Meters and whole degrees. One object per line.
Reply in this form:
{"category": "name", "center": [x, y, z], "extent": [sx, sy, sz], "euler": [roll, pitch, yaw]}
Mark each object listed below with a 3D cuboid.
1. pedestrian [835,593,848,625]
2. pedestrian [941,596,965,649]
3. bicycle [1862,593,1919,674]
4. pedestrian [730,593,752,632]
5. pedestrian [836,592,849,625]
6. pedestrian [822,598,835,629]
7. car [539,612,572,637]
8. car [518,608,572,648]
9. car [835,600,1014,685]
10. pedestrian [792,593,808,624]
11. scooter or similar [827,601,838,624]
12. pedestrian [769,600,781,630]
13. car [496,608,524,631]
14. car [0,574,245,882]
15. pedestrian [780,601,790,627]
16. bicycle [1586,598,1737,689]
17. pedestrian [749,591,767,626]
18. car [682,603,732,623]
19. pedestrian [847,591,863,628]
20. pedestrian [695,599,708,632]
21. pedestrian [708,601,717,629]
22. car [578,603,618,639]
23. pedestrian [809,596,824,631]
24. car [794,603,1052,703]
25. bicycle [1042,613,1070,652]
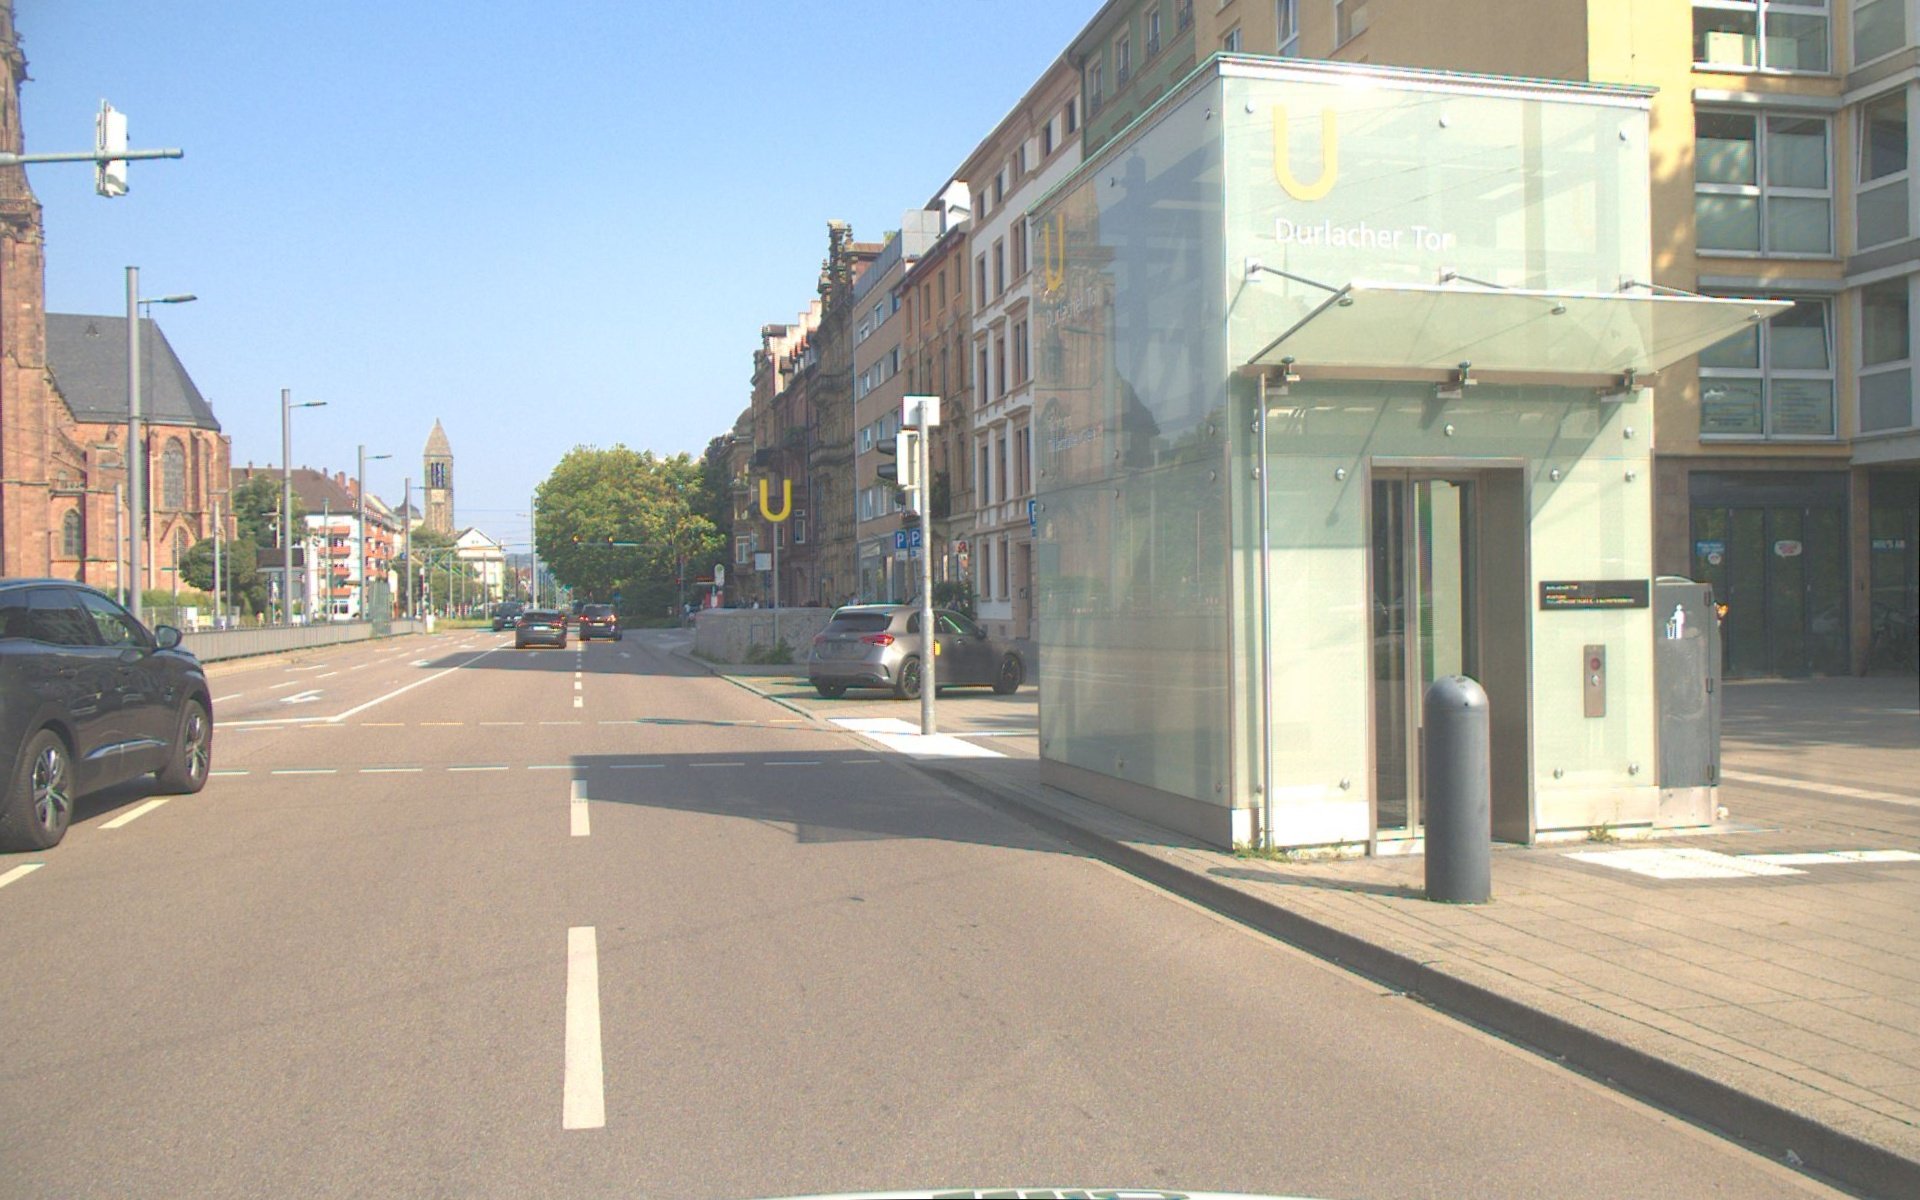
{"category": "pedestrian", "center": [-6.470, 0.500, 90.215], "extent": [0.593, 1.721, 0.584], "euler": [-1, 0, -17]}
{"category": "pedestrian", "center": [-0.212, 0.716, 52.880], "extent": [0.598, 1.657, 0.735], "euler": [-1, 0, -13]}
{"category": "bicycle", "center": [14.968, 0.489, 25.440], "extent": [1.982, 1.204, 0.668], "euler": [-2, 0, -14]}
{"category": "pedestrian", "center": [-10.768, 0.620, 81.376], "extent": [0.910, 1.863, 0.797], "euler": [-1, 0, -17]}
{"category": "pedestrian", "center": [-6.346, 0.467, 89.430], "extent": [0.593, 1.761, 0.508], "euler": [-1, 0, -17]}
{"category": "pedestrian", "center": [-7.387, 0.758, 92.635], "extent": [0.593, 1.683, 0.584], "euler": [-1, 0, -17]}
{"category": "car", "center": [-24.042, 1.449, 98.481], "extent": [1.832, 1.449, 4.342], "euler": [0, 0, -13]}
{"category": "car", "center": [-15.449, 1.021, 61.768], "extent": [1.832, 1.449, 4.342], "euler": [0, 0, -13]}
{"category": "car", "center": [-0.618, 0.756, 30.929], "extent": [1.590, 1.489, 3.516], "euler": [-1, -1, 35]}
{"category": "pedestrian", "center": [-8.499, 0.463, 87.880], "extent": [0.707, 1.638, 0.853], "euler": [-1, 0, -12]}
{"category": "scooter or similar", "center": [-6.795, 0.652, 88.002], "extent": [0.354, 1.183, 1.147], "euler": [-1, 0, -16]}
{"category": "pedestrian", "center": [-11.555, 0.924, 103.117], "extent": [0.606, 1.835, 1.068], "euler": [-1, 0, -12]}
{"category": "car", "center": [-30.868, 1.321, 113.542], "extent": [1.711, 1.553, 3.859], "euler": [-1, 0, -14]}
{"category": "car", "center": [-6.398, 0.705, 10.859], "extent": [1.956, 1.649, 4.350], "euler": [-1, 0, -7]}
{"category": "pedestrian", "center": [-10.930, 0.864, 103.169], "extent": [0.477, 1.638, 0.810], "euler": [-1, 0, -12]}
{"category": "bicycle", "center": [10.132, 0.614, 23.893], "extent": [1.982, 1.227, 0.668], "euler": [-2, 0, -14]}
{"category": "pedestrian", "center": [-10.341, 0.440, 84.673], "extent": [0.737, 1.759, 0.797], "euler": [-1, 0, -17]}
{"category": "car", "center": [-22.137, 1.120, 144.593], "extent": [4.115, 1.590, 1.990], "euler": [-1, 0, -18]}
{"category": "pedestrian", "center": [-5.284, 0.462, 83.320], "extent": [0.593, 1.863, 0.739], "euler": [-1, 0, -17]}
{"category": "pedestrian", "center": [-14.101, 0.857, 90.209], "extent": [0.556, 1.759, 0.742], "euler": [-1, 0, -17]}
{"category": "pedestrian", "center": [-15.582, 0.939, 104.023], "extent": [0.473, 1.731, 0.700], "euler": [-1, 0, -16]}
{"category": "car", "center": [-17.400, 0.978, 79.421], "extent": [1.800, 1.649, 4.342], "euler": [0, 0, -13]}
{"category": "pedestrian", "center": [-7.626, 0.710, 87.866], "extent": [0.707, 1.819, 0.853], "euler": [-1, 0, -12]}
{"category": "car", "center": [-0.507, 0.802, 26.657], "extent": [1.812, 1.448, 4.390], "euler": [-1, -1, 38]}
{"category": "bicycle", "center": [2.881, 0.970, 49.713], "extent": [0.377, 1.154, 1.714], "euler": [-1, 0, -13]}
